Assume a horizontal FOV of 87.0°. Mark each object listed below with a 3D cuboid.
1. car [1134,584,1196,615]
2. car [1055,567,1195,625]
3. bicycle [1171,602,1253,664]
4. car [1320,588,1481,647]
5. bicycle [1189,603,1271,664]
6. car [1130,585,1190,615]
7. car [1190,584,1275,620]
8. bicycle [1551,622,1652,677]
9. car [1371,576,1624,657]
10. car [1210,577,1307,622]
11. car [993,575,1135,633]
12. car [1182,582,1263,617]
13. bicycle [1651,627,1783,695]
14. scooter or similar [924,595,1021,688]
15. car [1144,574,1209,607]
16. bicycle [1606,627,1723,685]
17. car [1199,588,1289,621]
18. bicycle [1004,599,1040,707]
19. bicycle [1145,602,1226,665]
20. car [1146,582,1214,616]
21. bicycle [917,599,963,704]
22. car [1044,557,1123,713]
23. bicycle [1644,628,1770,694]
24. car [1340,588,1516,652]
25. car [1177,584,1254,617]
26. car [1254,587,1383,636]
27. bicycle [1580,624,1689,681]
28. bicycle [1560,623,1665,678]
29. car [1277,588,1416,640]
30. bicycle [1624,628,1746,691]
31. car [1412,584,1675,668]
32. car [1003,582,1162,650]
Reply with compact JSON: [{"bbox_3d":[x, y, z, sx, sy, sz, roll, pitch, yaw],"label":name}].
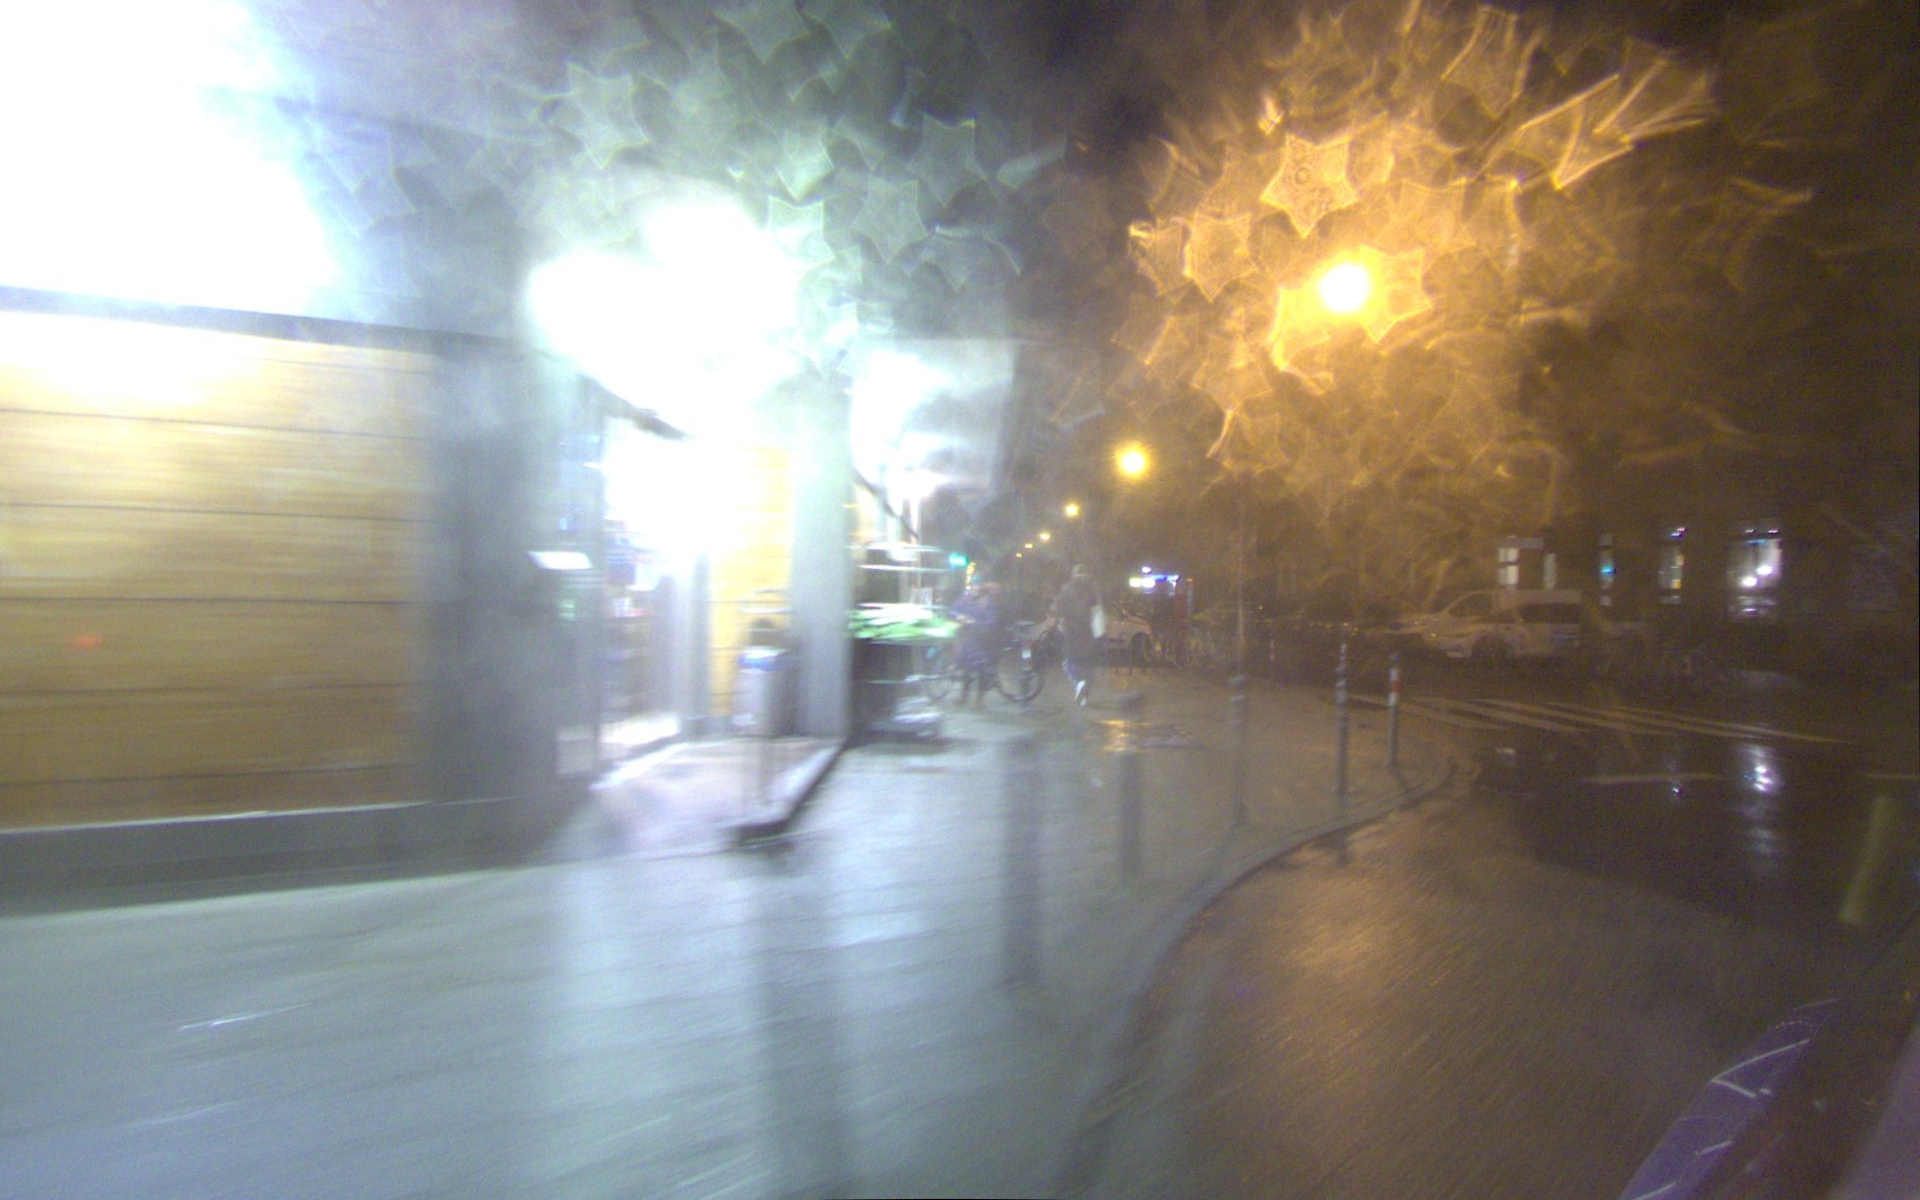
[{"bbox_3d":[14.302,-0.057,70.808,3.928,2.039,1.998,2,0,4],"label":"car"},{"bbox_3d":[4.775,-0.093,29.278,3.616,1.598,1.759,1,-1,-24],"label":"car"},{"bbox_3d":[5.052,0.656,20.439,0.443,1.191,1.968,1,-1,-26],"label":"bicycle"},{"bbox_3d":[14.444,0.571,33.355,4.378,1.785,2.000,1,-1,0],"label":"car"},{"bbox_3d":[5.486,0.660,20.685,0.443,1.191,1.968,1,-1,-26],"label":"bicycle"},{"bbox_3d":[14.445,-0.020,73.268,3.928,2.039,1.998,2,0,4],"label":"car"},{"bbox_3d":[13.880,0.132,51.757,3.930,1.796,1.996,0,-1,6],"label":"car"},{"bbox_3d":[13.091,1.005,20.681,1.744,1.021,0.403,2,0,2],"label":"bicycle"},{"bbox_3d":[13.809,0.408,26.234,5.442,1.914,2.000,1,-1,0],"label":"car"},{"bbox_3d":[13.719,0.001,46.713,3.930,2.040,1.996,0,-2,6],"label":"car"},{"bbox_3d":[3.194,0.153,31.058,4.022,1.684,1.759,1,-1,-24],"label":"car"},{"bbox_3d":[13.993,-0.019,54.173,3.930,1.794,1.996,0,-1,6],"label":"car"},{"bbox_3d":[12.417,0.996,16.622,1.776,1.021,0.455,2,0,2],"label":"bicycle"},{"bbox_3d":[0.186,0.572,14.303,1.290,1.245,0.526,2,-1,7],"label":"scooter or similar"},{"bbox_3d":[14.495,-0.634,67.863,3.928,2.039,1.998,2,0,4],"label":"car"},{"bbox_3d":[12.589,0.996,18.107,1.776,1.021,0.403,0,-1,2],"label":"bicycle"},{"bbox_3d":[13.836,0.236,49.492,3.930,1.572,1.996,0,-1,6],"label":"car"},{"bbox_3d":[0.769,0.595,12.267,0.377,1.189,1.784,2,0,5],"label":"bicycle"},{"bbox_3d":[4.459,0.650,20.118,0.443,1.191,1.968,1,-1,-26],"label":"bicycle"},{"bbox_3d":[14.133,-0.061,65.168,3.928,2.039,1.998,2,0,4],"label":"car"},{"bbox_3d":[-0.228,0.594,12.307,0.377,1.189,1.645,-1,-1,5],"label":"bicycle"},{"bbox_3d":[1.542,0.424,12.773,0.861,1.864,0.963,2,0,3],"label":"car"},{"bbox_3d":[12.650,1.022,17.163,1.776,1.021,0.403,2,0,2],"label":"bicycle"},{"bbox_3d":[14.149,0.582,30.777,4.378,1.785,2.000,1,-1,0],"label":"car"},{"bbox_3d":[14.275,0.035,56.740,3.930,1.794,1.996,0,-1,6],"label":"car"},{"bbox_3d":[14.171,0.445,40.158,4.378,1.785,2.000,1,-1,0],"label":"car"},{"bbox_3d":[13.011,1.011,19.552,1.776,1.021,0.403,2,0,2],"label":"bicycle"},{"bbox_3d":[12.961,0.996,20.113,1.776,1.021,0.403,2,0,2],"label":"bicycle"},{"bbox_3d":[14.406,0.508,37.887,4.378,1.785,2.000,1,-1,0],"label":"car"},{"bbox_3d":[12.613,1.028,17.620,1.776,1.021,0.379,2,0,2],"label":"bicycle"},{"bbox_3d":[13.643,0.590,23.891,5.000,1.785,2.000,1,-1,0],"label":"car"},{"bbox_3d":[3.089,0.408,25.575,3.616,1.598,1.759,1,-1,-24],"label":"car"}]
